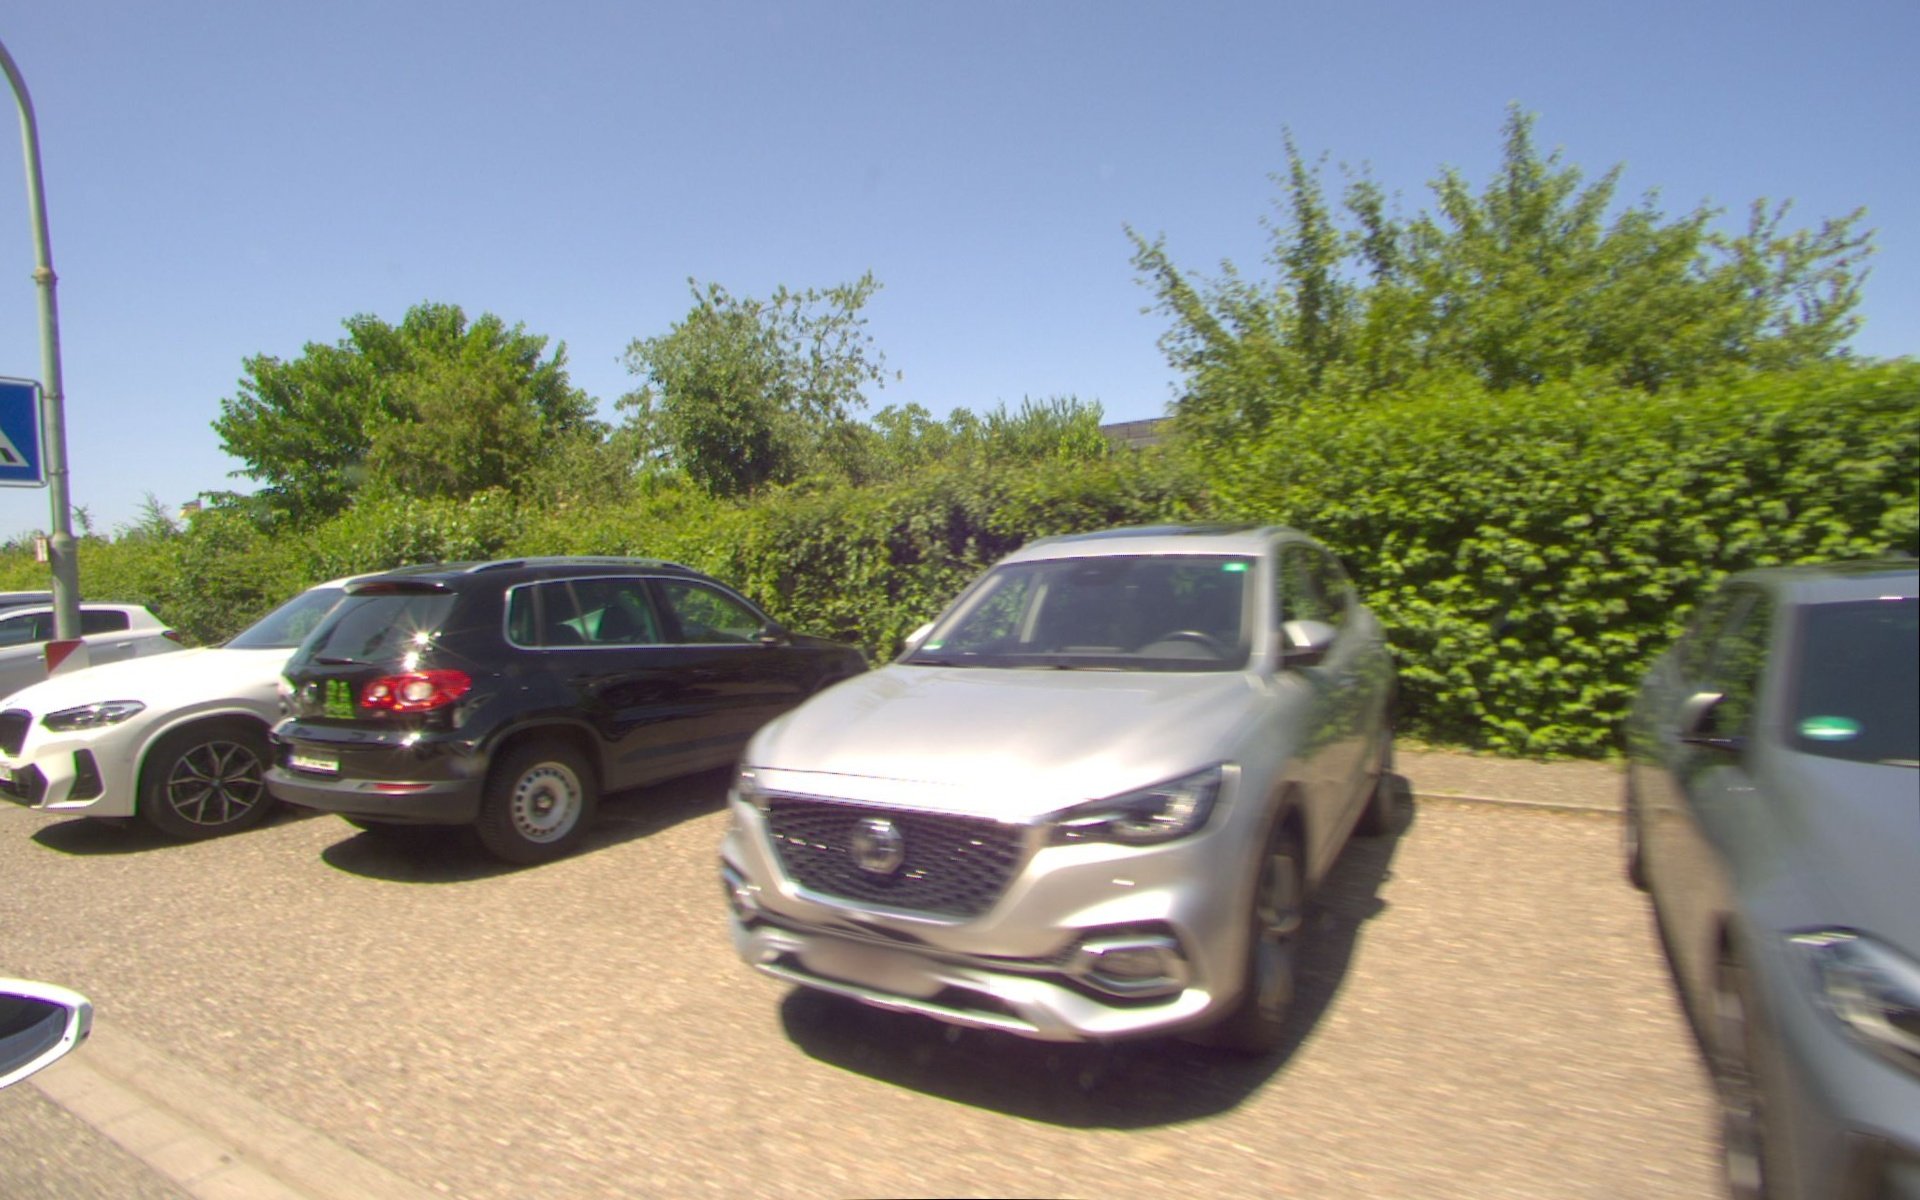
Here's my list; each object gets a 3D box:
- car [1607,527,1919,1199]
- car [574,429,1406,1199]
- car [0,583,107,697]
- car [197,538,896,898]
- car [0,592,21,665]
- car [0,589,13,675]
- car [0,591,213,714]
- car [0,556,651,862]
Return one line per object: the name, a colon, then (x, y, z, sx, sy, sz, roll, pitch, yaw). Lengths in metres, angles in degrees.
car: (3.007, 0.547, 2.760, 1.787, 1.459, 4.121, -1, 3, 30)
car: (0.718, 0.420, 4.427, 1.871, 1.676, 4.228, -2, 2, 29)
car: (-15.765, 0.688, 15.108, 1.785, 1.691, 3.952, -1, 3, 26)
car: (-2.399, 0.503, 6.901, 1.859, 1.680, 4.116, -1, 2, 31)
car: (-22.700, 0.752, 20.979, 1.784, 1.608, 3.954, -2, 2, 24)
car: (-20.377, 0.710, 18.343, 1.783, 1.692, 3.954, 1, 4, 24)
car: (-13.134, 0.743, 13.966, 1.790, 1.500, 3.941, -1, 3, 36)
car: (-4.820, 0.566, 8.003, 1.848, 1.721, 4.397, -1, 1, 29)
